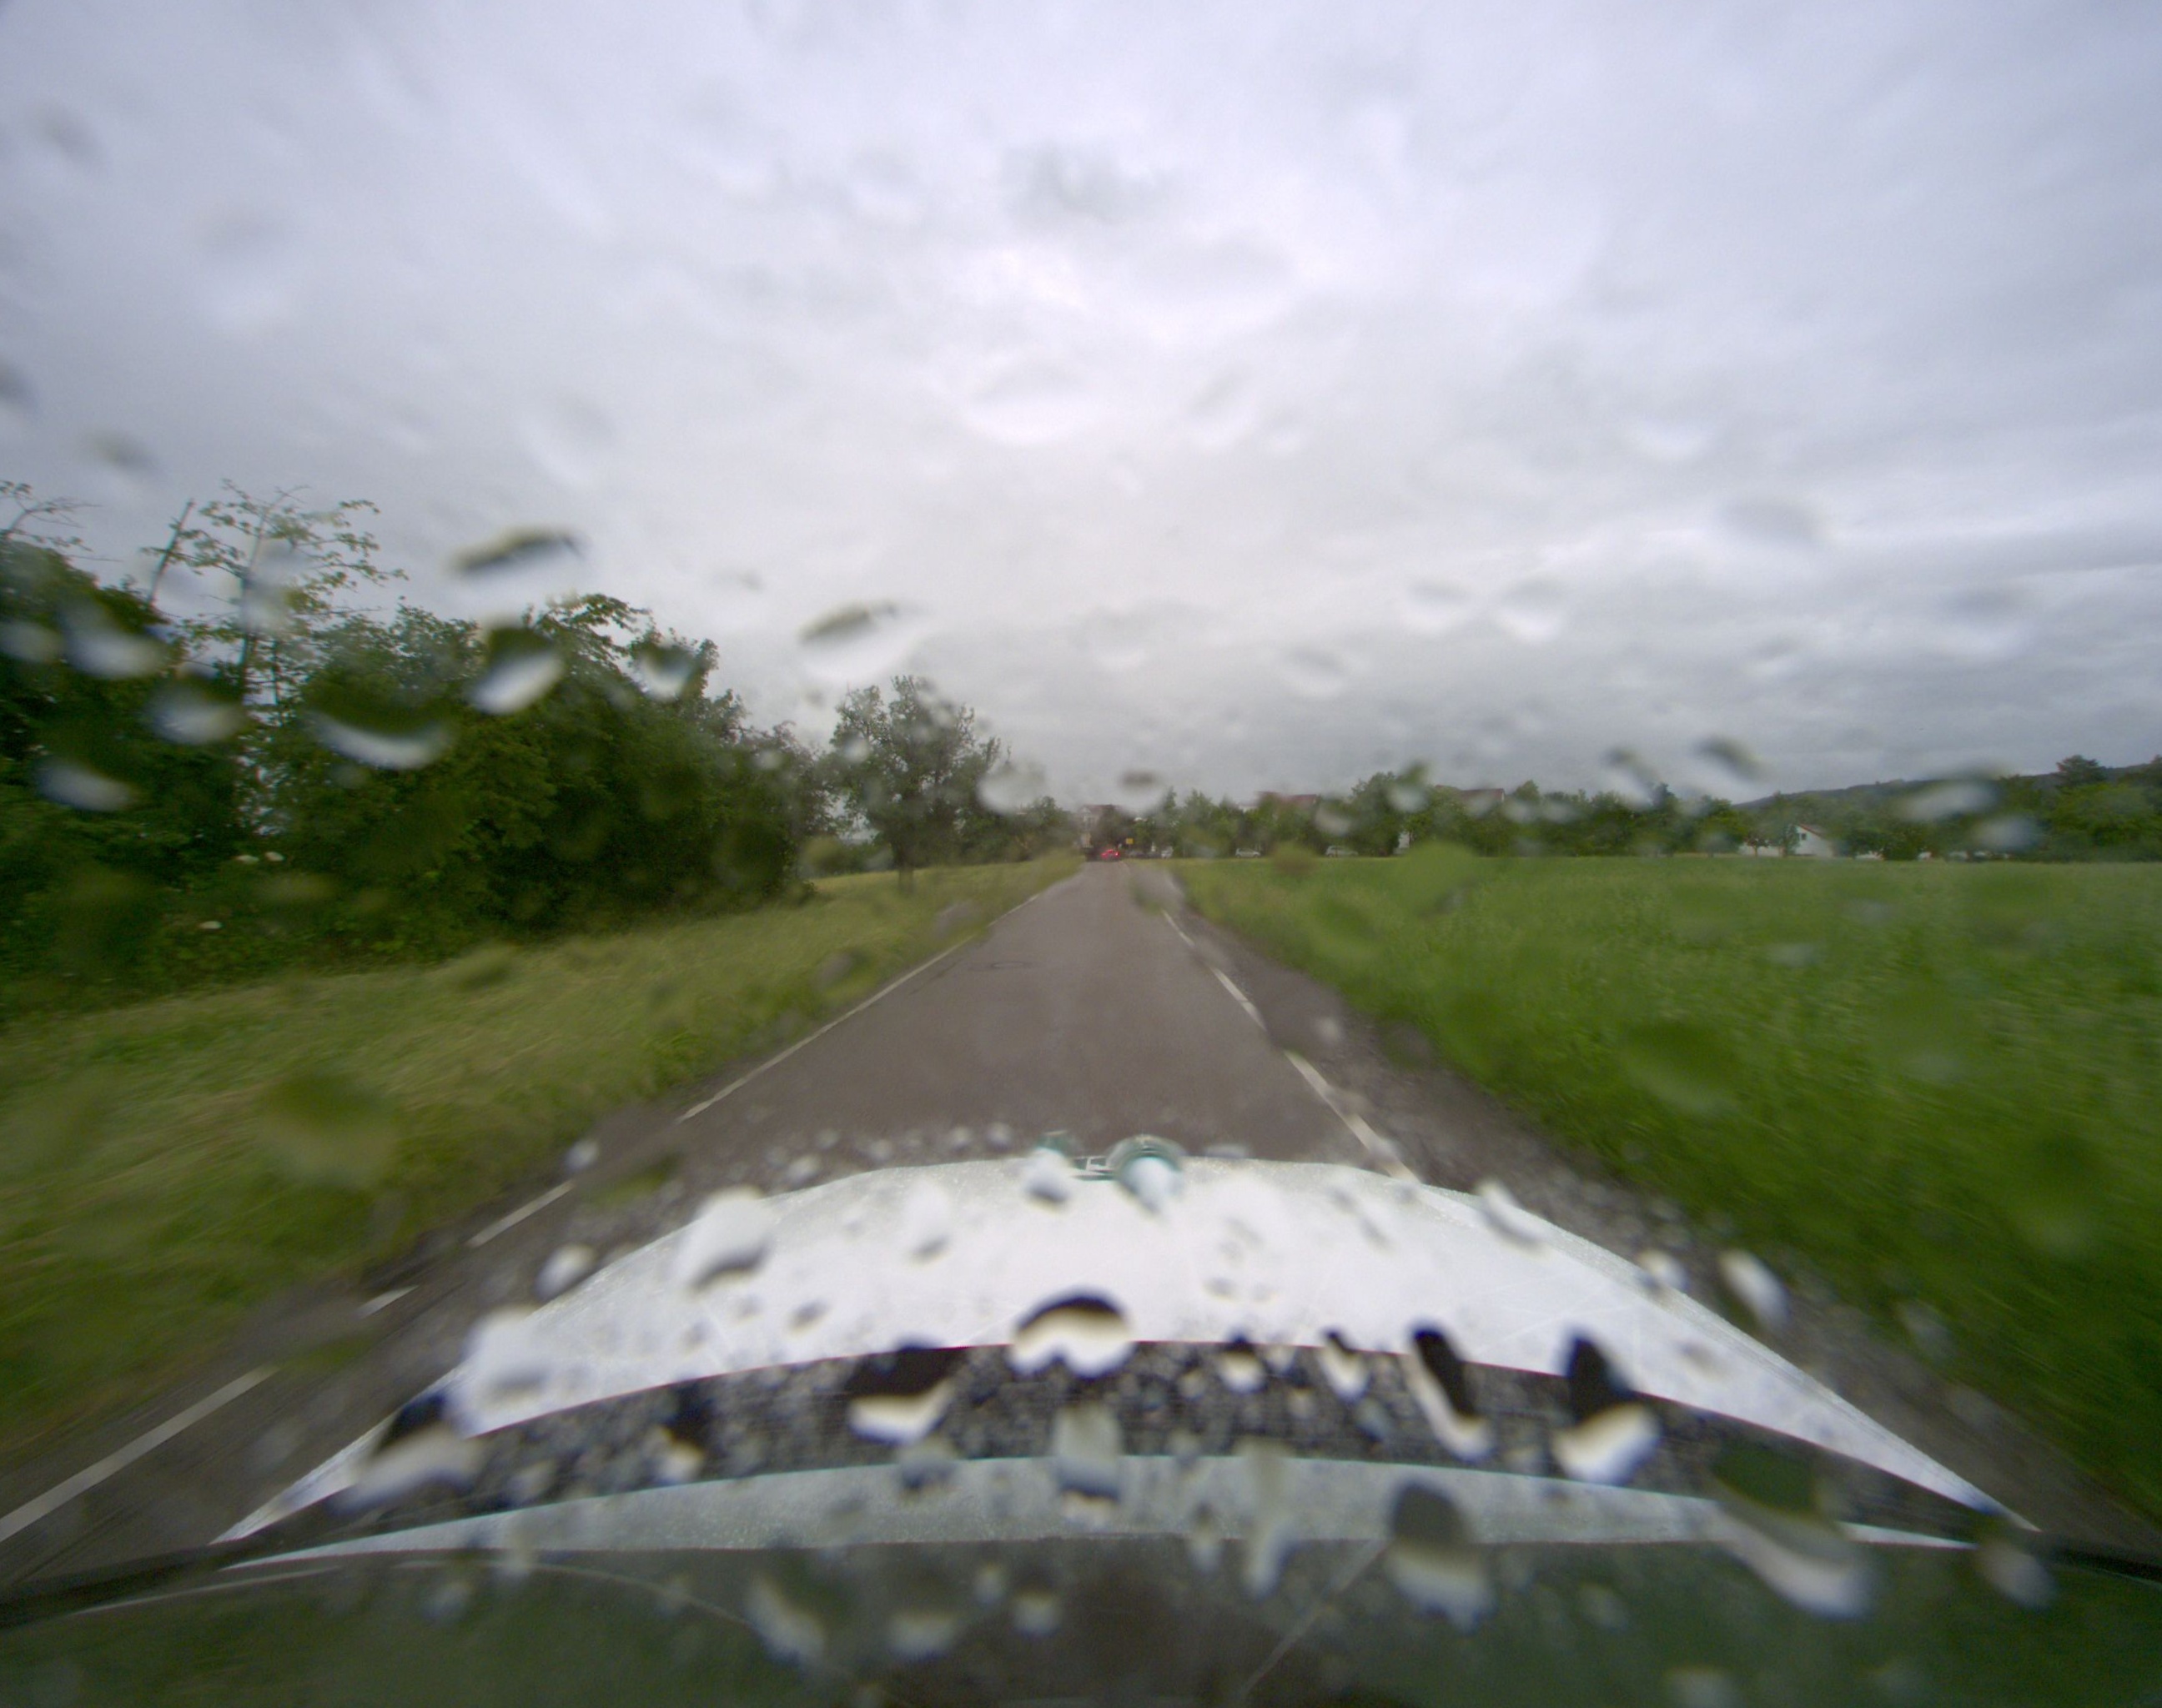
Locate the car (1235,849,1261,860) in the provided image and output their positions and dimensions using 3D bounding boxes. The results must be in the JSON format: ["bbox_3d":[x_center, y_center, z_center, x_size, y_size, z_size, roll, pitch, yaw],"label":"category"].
[{"bbox_3d":[22.424,0.055,109.296,3.365,1.371,1.554,-2,-1,15],"label":"car"}]

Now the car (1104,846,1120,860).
[{"bbox_3d":[3.711,-0.106,97.594,1.807,1.594,4.003,-1,-1,3],"label":"car"}]

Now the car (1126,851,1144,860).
[{"bbox_3d":[9.191,0.271,138.548,1.645,1.546,4.024,-2,-1,27],"label":"car"}]

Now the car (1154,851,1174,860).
[{"bbox_3d":[15.049,0.252,147.184,1.645,1.546,4.025,-2,-1,37],"label":"car"}]

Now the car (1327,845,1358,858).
[{"bbox_3d":[33.999,-0.275,105.969,3.682,1.564,1.617,-2,-1,15],"label":"car"}]

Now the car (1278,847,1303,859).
[{"bbox_3d":[27.738,-0.132,107.719,3.169,1.371,1.578,-2,-1,15],"label":"car"}]

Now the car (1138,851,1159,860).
[{"bbox_3d":[11.889,0.290,142.980,1.645,1.546,4.025,-2,-1,37],"label":"car"}]
